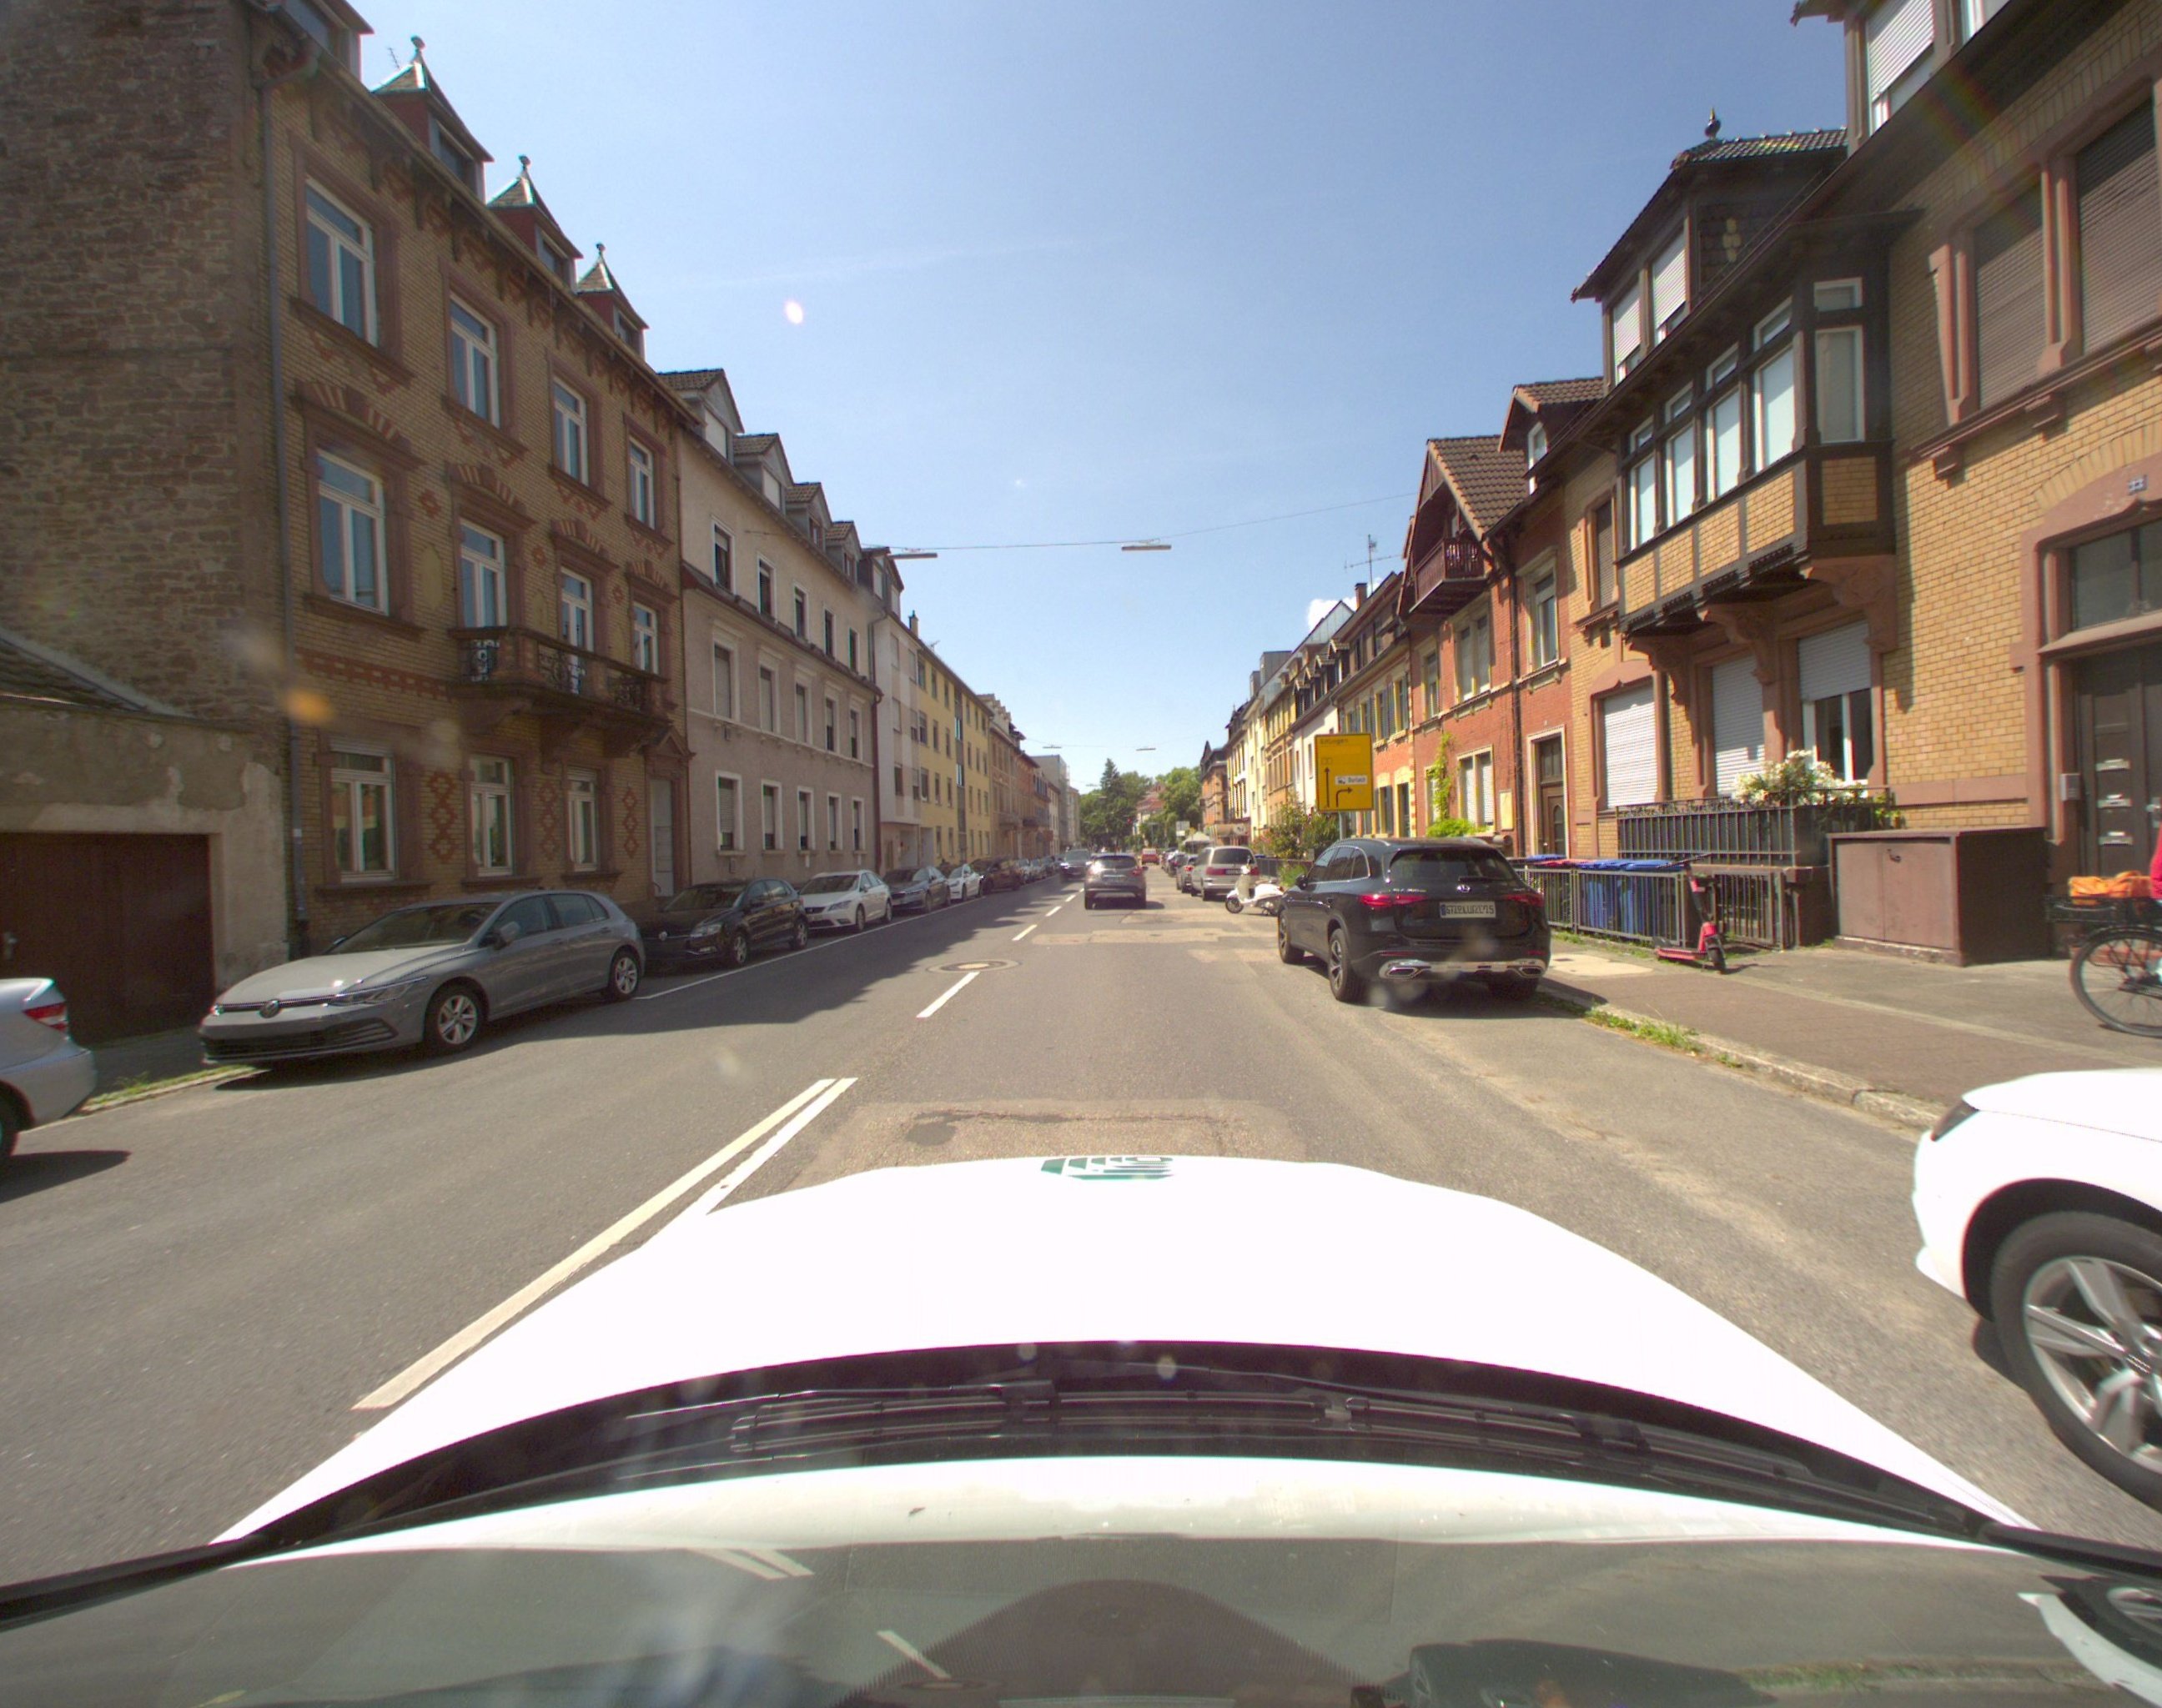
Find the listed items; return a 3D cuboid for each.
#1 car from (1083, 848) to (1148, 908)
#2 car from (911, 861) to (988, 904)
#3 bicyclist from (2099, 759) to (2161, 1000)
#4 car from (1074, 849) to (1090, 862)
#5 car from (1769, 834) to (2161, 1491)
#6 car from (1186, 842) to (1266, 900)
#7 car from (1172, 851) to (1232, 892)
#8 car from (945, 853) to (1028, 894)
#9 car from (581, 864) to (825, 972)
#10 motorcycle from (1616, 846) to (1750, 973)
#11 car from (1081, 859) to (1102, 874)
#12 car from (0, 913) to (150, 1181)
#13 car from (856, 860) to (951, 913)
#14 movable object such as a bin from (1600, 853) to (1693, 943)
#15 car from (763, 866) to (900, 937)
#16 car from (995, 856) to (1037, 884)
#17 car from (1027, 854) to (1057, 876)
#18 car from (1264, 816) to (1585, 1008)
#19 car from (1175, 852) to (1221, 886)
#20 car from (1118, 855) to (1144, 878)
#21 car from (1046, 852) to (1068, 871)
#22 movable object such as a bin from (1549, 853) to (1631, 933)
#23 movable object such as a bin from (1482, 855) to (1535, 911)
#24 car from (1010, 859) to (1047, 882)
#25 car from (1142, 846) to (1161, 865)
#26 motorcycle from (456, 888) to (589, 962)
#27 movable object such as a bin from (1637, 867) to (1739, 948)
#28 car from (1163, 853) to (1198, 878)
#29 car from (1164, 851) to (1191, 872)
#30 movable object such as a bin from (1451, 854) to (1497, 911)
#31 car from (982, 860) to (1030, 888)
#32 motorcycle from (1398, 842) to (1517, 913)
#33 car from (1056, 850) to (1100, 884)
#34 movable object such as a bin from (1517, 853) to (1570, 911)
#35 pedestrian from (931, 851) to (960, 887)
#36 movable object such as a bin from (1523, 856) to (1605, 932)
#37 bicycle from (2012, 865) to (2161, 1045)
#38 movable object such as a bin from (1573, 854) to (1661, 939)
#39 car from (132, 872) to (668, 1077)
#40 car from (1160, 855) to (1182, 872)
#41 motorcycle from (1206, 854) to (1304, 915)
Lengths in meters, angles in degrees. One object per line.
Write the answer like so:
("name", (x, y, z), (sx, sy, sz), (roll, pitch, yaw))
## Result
("car", (1.056, 0.649, 24.221), (1.736, 1.616, 4.003), (-1, 0, 3))
("car", (-4.994, 1.045, 31.604), (1.831, 1.422, 4.562), (-4, -1, 4))
("bicyclist", (6.817, 0.149, 4.828), (0.530, 1.469, 0.791), (-2, -1, 3))
("car", (0.121, 0.251, 116.745), (1.896, 1.821, 4.308), (-2, 0, 4))
("car", (3.102, 0.639, 0.452), (1.709, 1.414, 4.593), (-2, 0, 3))
("car", (4.718, 0.518, 27.122), (1.854, 1.748, 4.618), (1, 0, 0))
("car", (4.744, 0.641, 32.384), (1.853, 1.487, 4.311), (1, 0, 1))
("car", (-4.313, 0.866, 37.948), (1.888, 1.638, 4.581), (-3, -1, 20))
("car", (-6.303, 0.979, 14.280), (1.832, 1.422, 4.507), (-5, -1, 4))
("motorcycle", (6.425, 0.549, 8.768), (0.438, 1.237, 1.359), (-3, 0, 2))
("car", (0.987, 1.141, 75.642), (1.809, 1.388, 4.000), (-1, 0, 1))
("car", (-6.920, 1.113, 2.928), (1.833, 1.422, 4.504), (-3, -1, 2))
("car", (-5.500, 0.970, 25.835), (1.833, 1.422, 4.646), (-3, -1, 1))
("movable object such as a bin", (7.174, 0.542, 10.357), (0.785, 1.088, 0.539), (-2, -1, 0))
("car", (-5.908, 1.064, 19.909), (1.833, 1.422, 4.502), (-3, -1, 1))
("car", (-3.912, 0.949, 49.440), (1.897, 1.510, 4.306), (-3, 0, 3))
("car", (-3.084, 0.848, 65.225), (1.897, 1.620, 4.305), (-3, 0, 2))
("car", (3.572, 0.533, 9.570), (1.985, 1.662, 4.628), (-2, 0, 3))
("car", (5.453, 0.670, 38.397), (1.688, 1.487, 4.621), (1, 0, 3))
("car", (3.850, 0.964, 63.559), (1.805, 1.620, 4.443), (-2, -1, 1))
("car", (-2.226, 0.681, 76.424), (1.899, 1.620, 4.301), (-3, 0, -1))
("movable object such as a bin", (7.185, 0.542, 11.519), (0.785, 1.088, 0.554), (-2, -1, 0))
("movable object such as a bin", (8.289, 0.554, 15.823), (0.656, 1.055, 0.749), (-1, 0, 4))
("car", (-3.527, 1.092, 55.630), (1.896, 1.401, 4.759), (-3, 0, 3))
("car", (8.073, 0.140, 93.044), (1.983, 2.013, 4.475), (-2, 0, 7))
("motorcycle", (-9.101, 1.127, 13.385), (0.709, 1.053, 1.939), (-1, -1, 6))
("movable object such as a bin", (7.191, 0.619, 9.666), (0.785, 0.907, 0.539), (-2, 0, 0))
("car", (6.141, 0.659, 50.662), (1.853, 1.465, 4.621), (1, 0, 3))
("car", (7.256, 0.563, 61.508), (1.852, 1.553, 4.005), (1, 0, 4))
("movable object such as a bin", (7.652, 0.549, 15.869), (0.554, 1.076, 0.728), (-1, 0, 4))
("car", (-4.029, 1.055, 44.523), (1.896, 1.379, 4.065), (-3, 0, 4))
("motorcycle", (8.219, 0.507, 17.868), (2.121, 1.408, 0.938), (-3, -1, 2))
("car", (-0.132, 0.732, 47.391), (1.984, 1.792, 5.156), (-2, 0, 6))
("movable object such as a bin", (8.953, 0.527, 15.792), (0.606, 1.077, 0.762), (-1, 0, 4))
("pedestrian", (-6.741, 0.740, 40.582), (1.145, 1.750, 0.971), (-1, 0, 5))
("movable object such as a bin", (7.198, 0.579, 12.163), (0.785, 1.088, 0.686), (-2, 0, 0))
("bicycle", (6.805, 0.612, 4.771), (0.591, 1.066, 1.884), (-2, 0, 3))
("movable object such as a bin", (7.184, 0.553, 10.936), (0.785, 1.088, 0.543), (-2, -1, 0))
("car", (-6.613, 1.017, 8.792), (1.833, 1.422, 4.503), (-6, -1, 1))
("car", (7.887, 0.824, 71.836), (1.606, 1.443, 3.437), (0, 0, 1))
("motorcycle", (4.120, 0.698, 19.377), (1.971, 1.385, 1.120), (-1, -1, 41))
